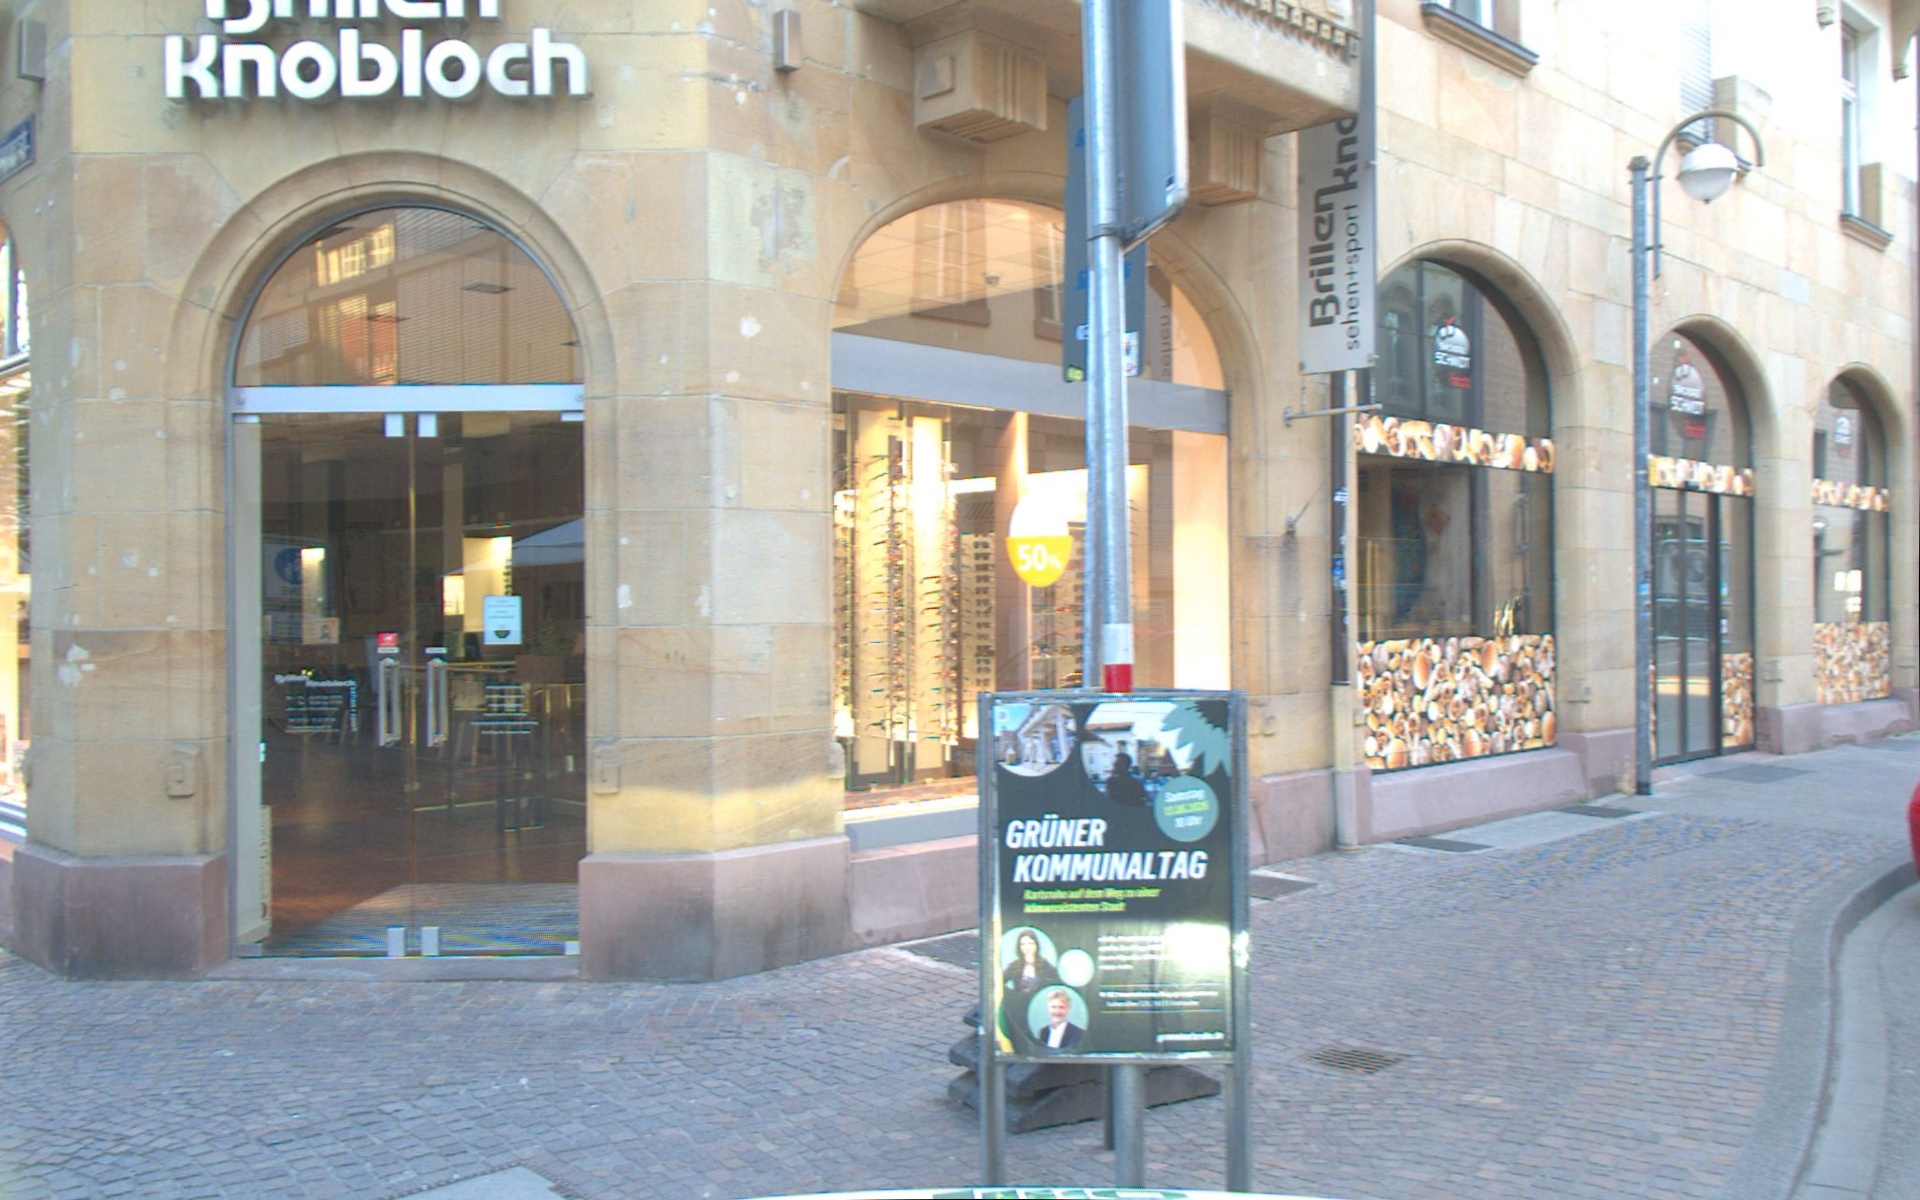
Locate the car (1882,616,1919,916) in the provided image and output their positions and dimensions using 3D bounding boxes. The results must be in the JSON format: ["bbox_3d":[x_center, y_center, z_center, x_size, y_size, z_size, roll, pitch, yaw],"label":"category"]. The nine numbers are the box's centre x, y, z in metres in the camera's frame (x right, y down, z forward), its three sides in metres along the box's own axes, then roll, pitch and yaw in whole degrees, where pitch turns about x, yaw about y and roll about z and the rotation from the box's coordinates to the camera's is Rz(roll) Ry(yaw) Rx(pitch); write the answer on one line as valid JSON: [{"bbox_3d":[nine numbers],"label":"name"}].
[{"bbox_3d":[6.659,0.778,9.133,3.902,1.495,1.636,-1,-3,-44],"label":"car"}]
